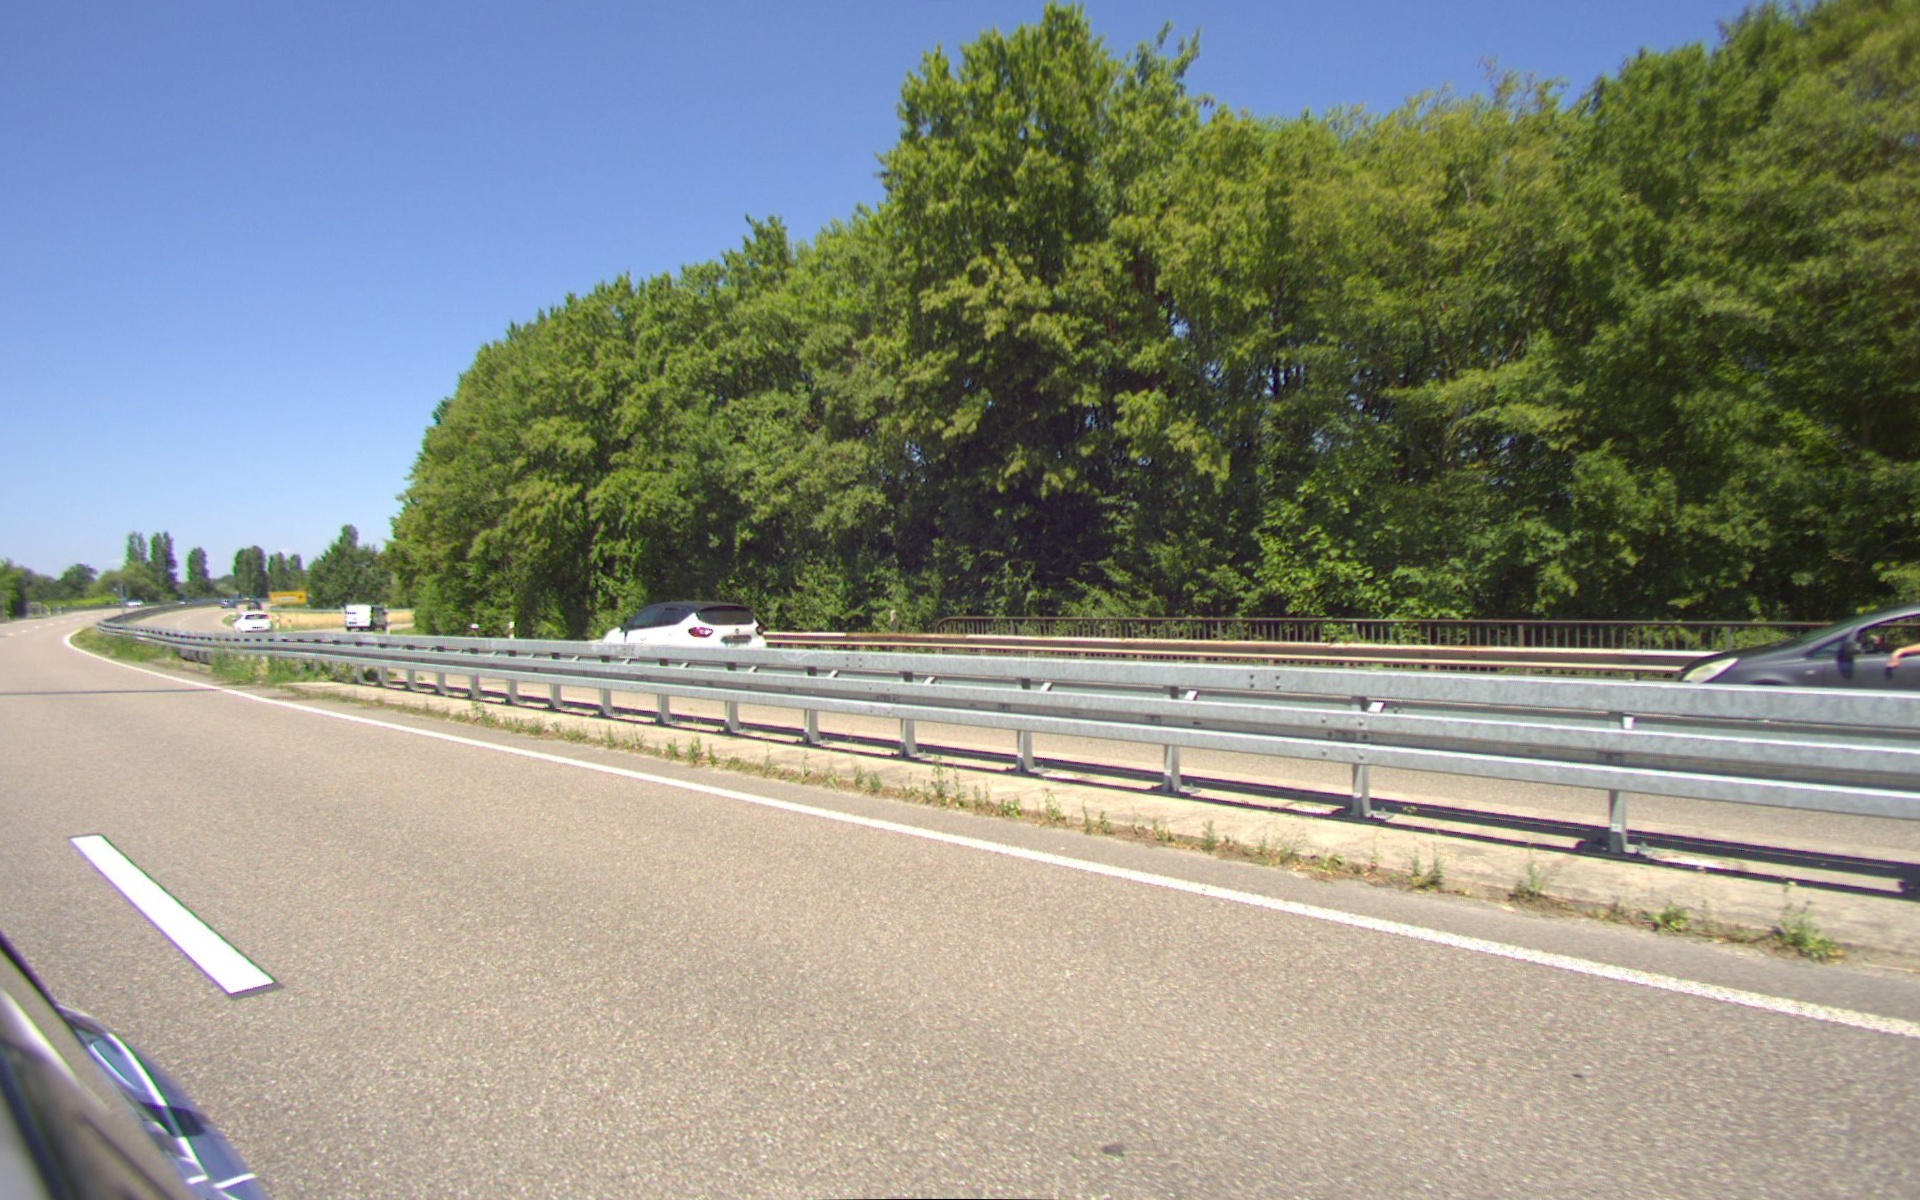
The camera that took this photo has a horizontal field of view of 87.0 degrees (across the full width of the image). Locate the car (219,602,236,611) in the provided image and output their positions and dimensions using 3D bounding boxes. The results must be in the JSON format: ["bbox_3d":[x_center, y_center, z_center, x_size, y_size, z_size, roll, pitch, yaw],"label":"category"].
[{"bbox_3d":[-132.723,1.206,183.359,1.798,1.630,4.554,0,-1,-28],"label":"car"}]

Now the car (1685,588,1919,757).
[{"bbox_3d":[9.448,0.657,9.640,3.996,1.540,1.634,-1,-1,41],"label":"car"}]

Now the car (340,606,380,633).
[{"bbox_3d":[-45.785,1.463,77.344,1.961,1.966,5.658,0,-1,-24],"label":"car"}]

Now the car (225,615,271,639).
[{"bbox_3d":[-44.344,1.677,62.995,4.221,1.458,1.632,-1,-1,45],"label":"car"}]

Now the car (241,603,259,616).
[{"bbox_3d":[-120.987,1.612,172.467,1.966,2.028,4.013,-3,2,-27],"label":"car"}]

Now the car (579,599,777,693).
[{"bbox_3d":[-5.516,0.833,19.521,4.217,1.619,1.634,-1,-1,41],"label":"car"}]
